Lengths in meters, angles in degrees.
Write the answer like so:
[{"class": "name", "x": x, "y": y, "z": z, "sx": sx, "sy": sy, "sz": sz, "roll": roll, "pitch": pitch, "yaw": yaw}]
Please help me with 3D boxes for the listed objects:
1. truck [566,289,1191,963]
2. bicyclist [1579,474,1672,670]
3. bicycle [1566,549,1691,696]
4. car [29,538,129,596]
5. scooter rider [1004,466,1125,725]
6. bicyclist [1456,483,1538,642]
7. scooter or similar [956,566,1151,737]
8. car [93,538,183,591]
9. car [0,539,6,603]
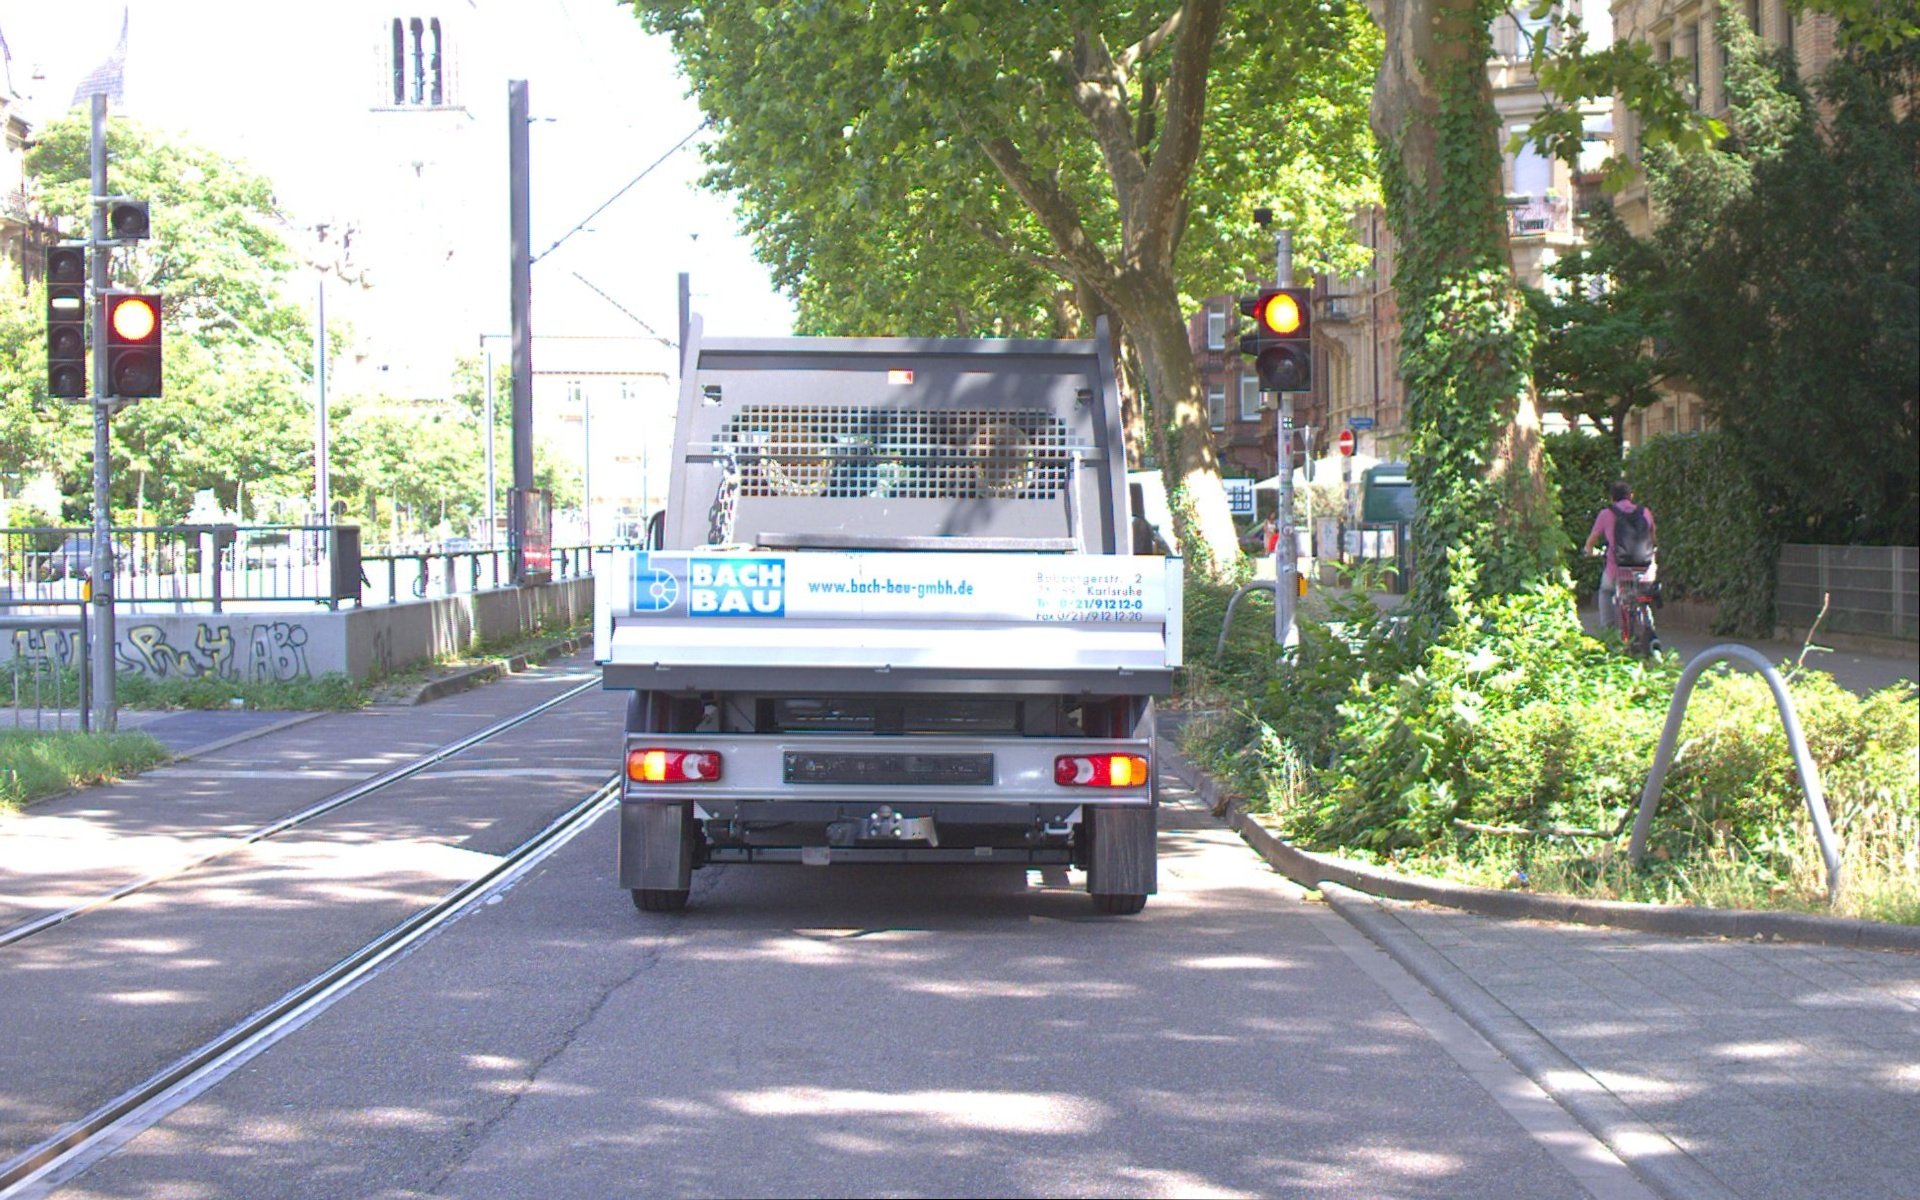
[{"class": "truck", "x": -0.280, "y": 0.046, "z": 14.230, "sx": 2.138, "sy": 2.311, "sz": 4.402, "roll": 1, "pitch": 1, "yaw": 0}, {"class": "bicyclist", "x": 5.390, "y": -0.230, "z": 27.867, "sx": 0.638, "sy": 1.568, "sz": 0.579, "roll": -1, "pitch": 1, "yaw": 1}, {"class": "bicycle", "x": 5.385, "y": 0.157, "z": 27.789, "sx": 0.565, "sy": 1.108, "sz": 2.310, "roll": -1, "pitch": 1, "yaw": 0}, {"class": "car", "x": -23.747, "y": -0.903, "z": 92.756, "sx": 1.770, "sy": 1.493, "sz": 4.001, "roll": -1, "pitch": 1, "yaw": -2}, {"class": "scooter rider", "x": 0.758, "y": -0.040, "z": 25.079, "sx": 0.666, "sy": 1.860, "sz": 0.664, "roll": -1, "pitch": 1, "yaw": -19}, {"class": "bicyclist", "x": 5.321, "y": -0.376, "z": 34.113, "sx": 0.680, "sy": 1.558, "sz": 0.777, "roll": -1, "pitch": 1, "yaw": 0}, {"class": "scooter or similar", "x": 0.681, "y": 0.364, "z": 25.055, "sx": 1.266, "sy": 1.200, "sz": 0.657, "roll": -1, "pitch": 1, "yaw": -19}, {"class": "car", "x": -24.027, "y": -1.058, "z": 100.591, "sx": 1.770, "sy": 1.493, "sz": 4.001, "roll": -1, "pitch": 1, "yaw": -2}, {"class": "car", "x": -23.280, "y": -0.639, "z": 79.394, "sx": 1.770, "sy": 1.493, "sz": 4.001, "roll": -1, "pitch": 1, "yaw": -6}]
